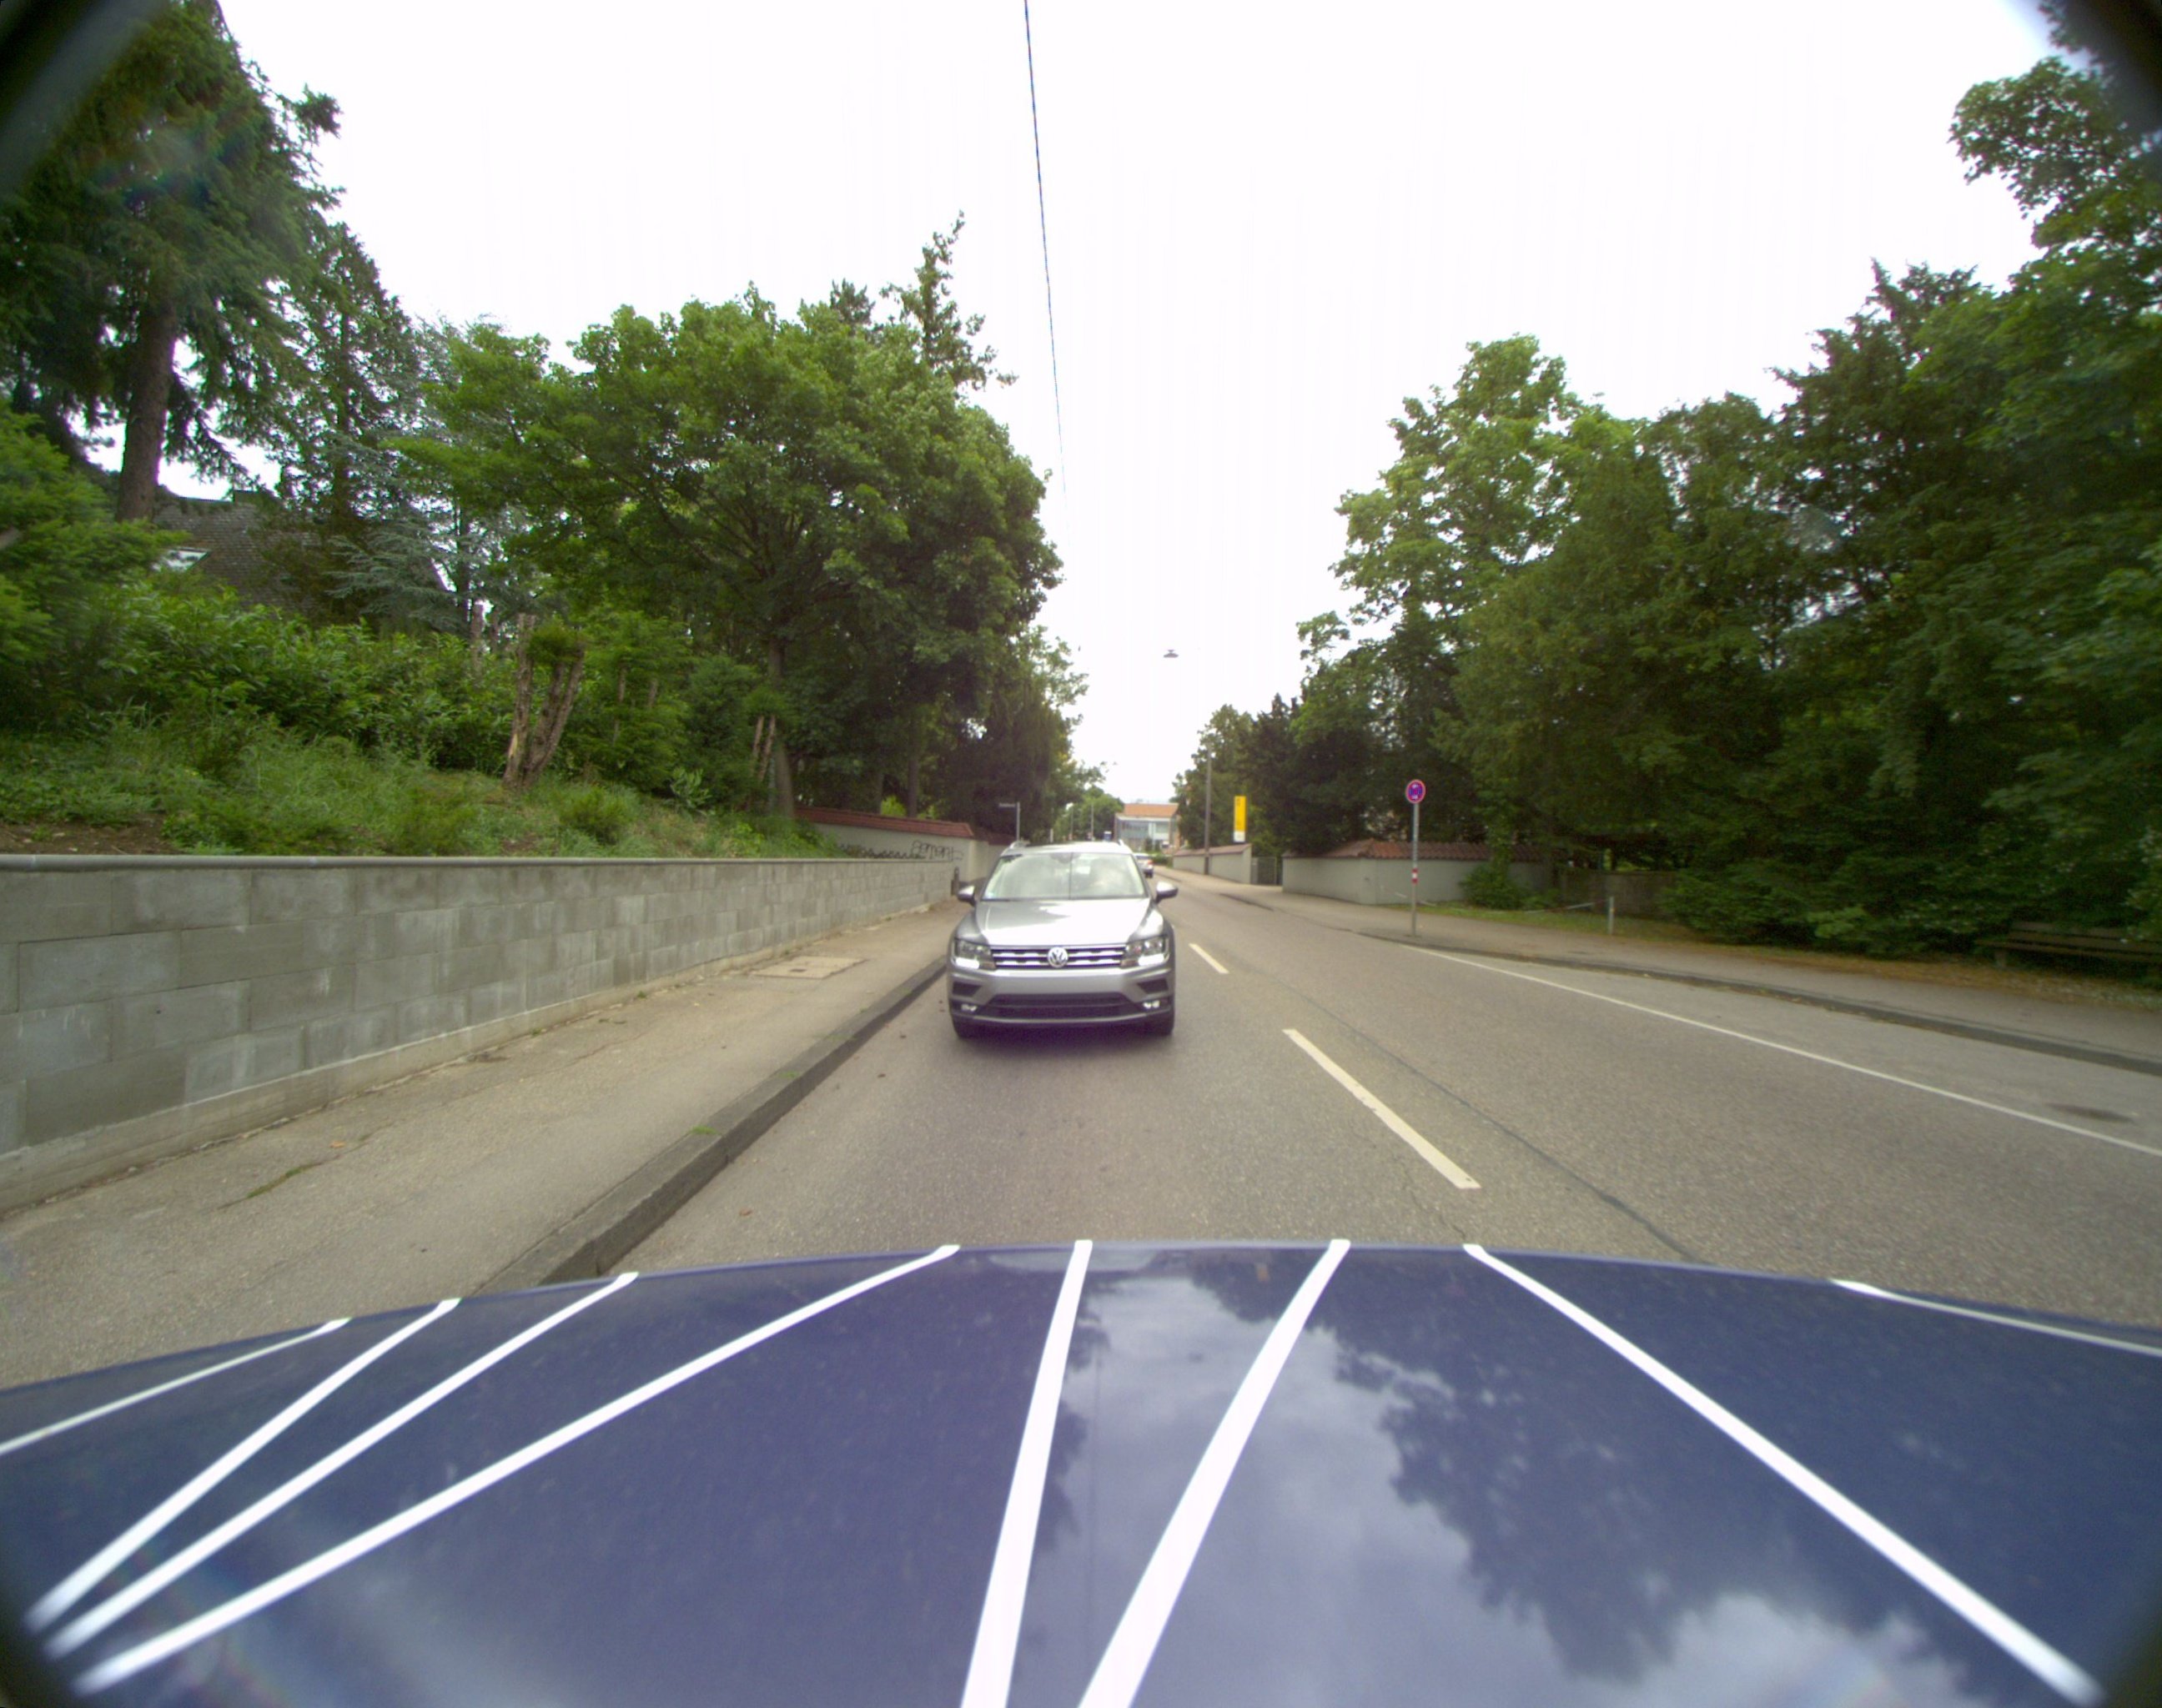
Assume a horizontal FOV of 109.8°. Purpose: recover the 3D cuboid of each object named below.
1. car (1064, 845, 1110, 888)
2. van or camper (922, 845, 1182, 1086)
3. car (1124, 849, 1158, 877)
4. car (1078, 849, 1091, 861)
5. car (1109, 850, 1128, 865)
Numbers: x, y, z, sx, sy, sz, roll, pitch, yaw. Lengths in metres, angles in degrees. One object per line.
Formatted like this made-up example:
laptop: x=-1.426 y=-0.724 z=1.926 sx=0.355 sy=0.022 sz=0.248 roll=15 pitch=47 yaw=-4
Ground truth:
car: x=0.258 y=0.486 z=32.681 sx=1.789 sy=1.644 sz=4.120 roll=3 pitch=0 yaw=1
van or camper: x=-0.175 y=0.762 z=7.365 sx=1.800 sy=1.663 sz=4.198 roll=0 pitch=0 yaw=1
car: x=3.847 y=0.526 z=49.368 sx=1.789 sy=1.644 sz=4.120 roll=3 pitch=0 yaw=-1
car: x=0.575 y=0.123 z=113.803 sx=1.864 sy=1.648 sz=4.305 roll=-1 pitch=0 yaw=1
car: x=4.041 y=0.388 z=82.289 sx=1.864 sy=1.445 sz=4.110 roll=3 pitch=0 yaw=1
